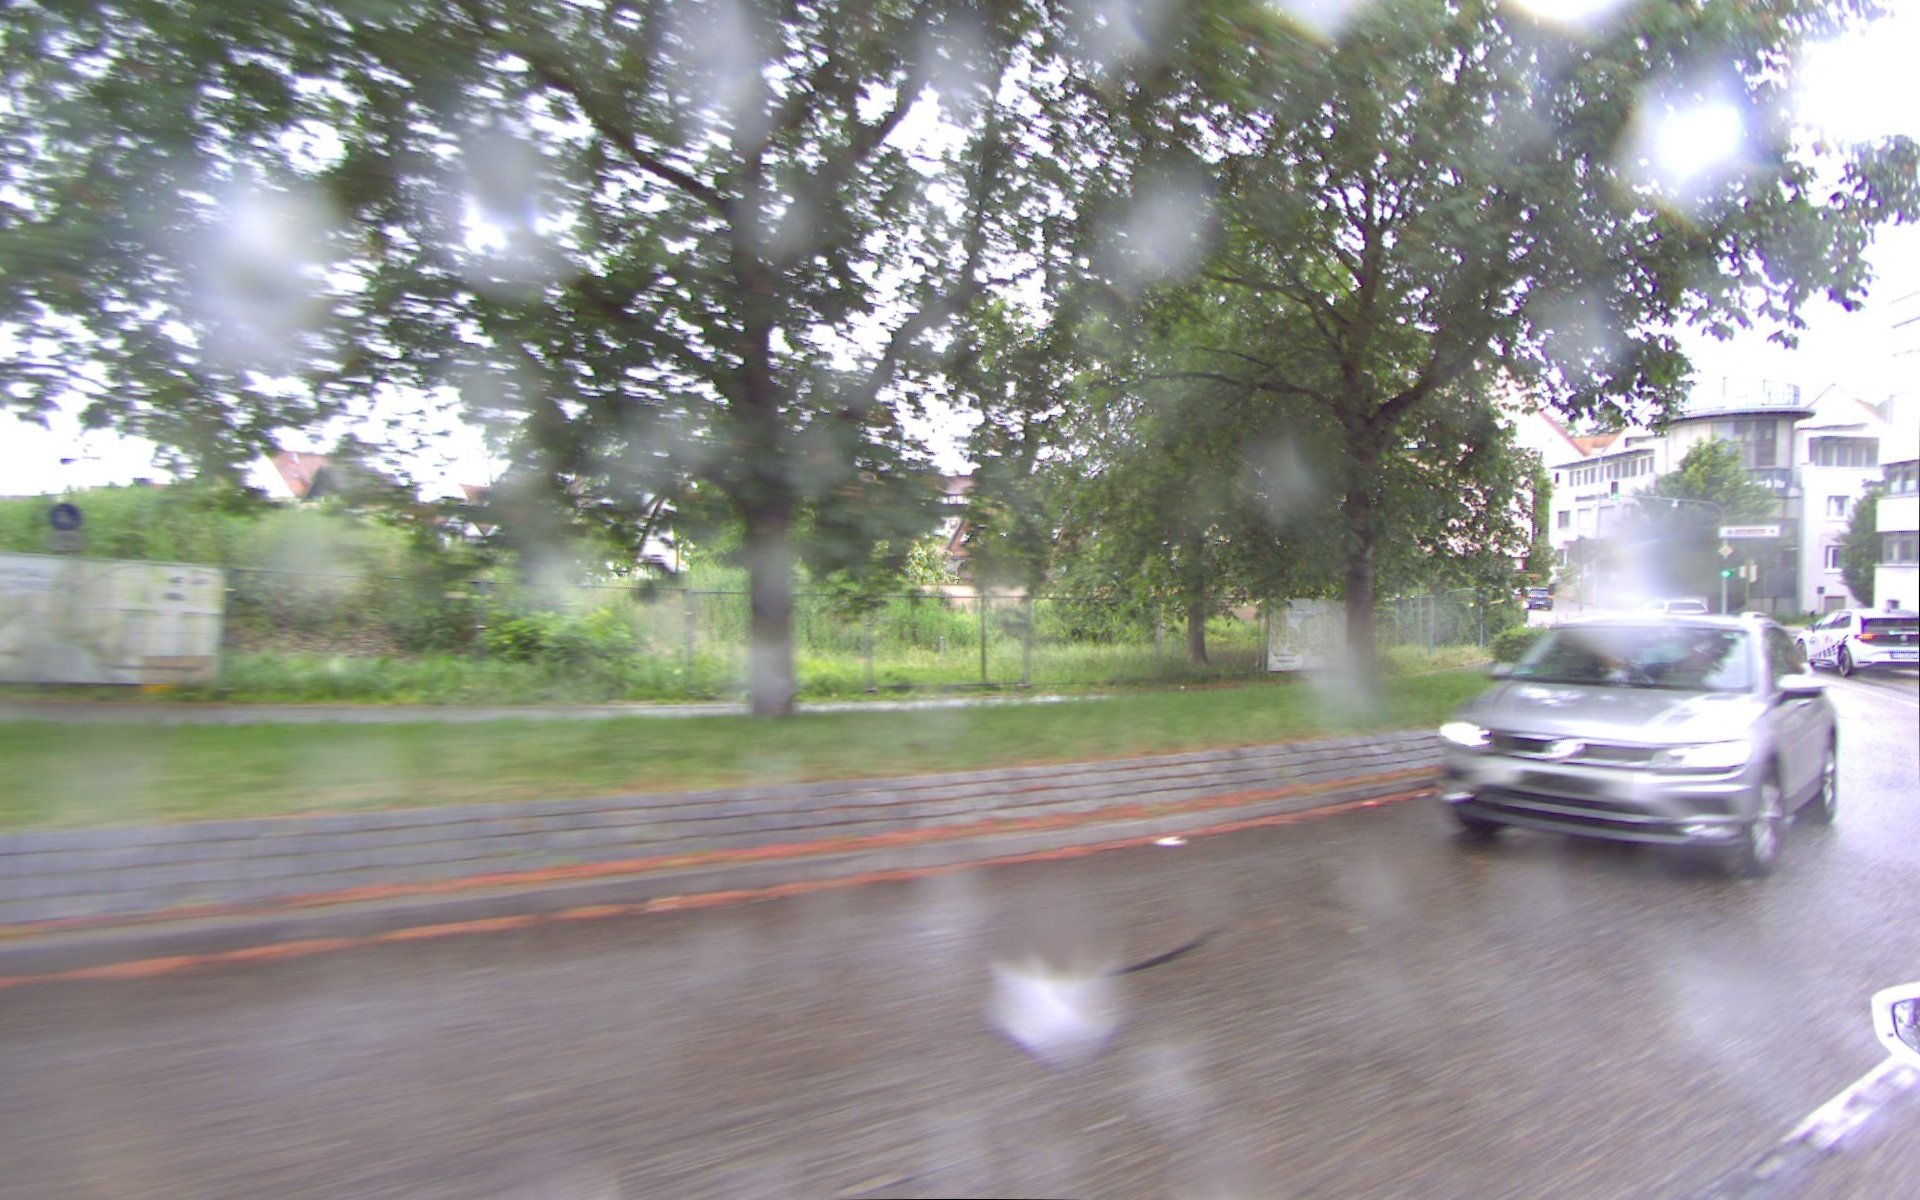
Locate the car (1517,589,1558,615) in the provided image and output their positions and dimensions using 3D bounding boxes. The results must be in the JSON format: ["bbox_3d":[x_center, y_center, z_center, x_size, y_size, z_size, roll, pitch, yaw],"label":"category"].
[{"bbox_3d":[38.466,0.143,66.968,1.862,1.612,3.687,-1,1,21],"label":"car"}]

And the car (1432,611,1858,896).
[{"bbox_3d":[5.352,0.917,7.609,4.268,1.563,1.712,2,-2,-42],"label":"car"}]

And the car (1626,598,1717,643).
[{"bbox_3d":[27.592,0.778,39.117,1.699,1.611,4.185,2,0,18],"label":"car"}]

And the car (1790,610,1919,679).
[{"bbox_3d":[21.910,1.016,24.315,1.789,1.378,3.985,1,2,25],"label":"car"}]
